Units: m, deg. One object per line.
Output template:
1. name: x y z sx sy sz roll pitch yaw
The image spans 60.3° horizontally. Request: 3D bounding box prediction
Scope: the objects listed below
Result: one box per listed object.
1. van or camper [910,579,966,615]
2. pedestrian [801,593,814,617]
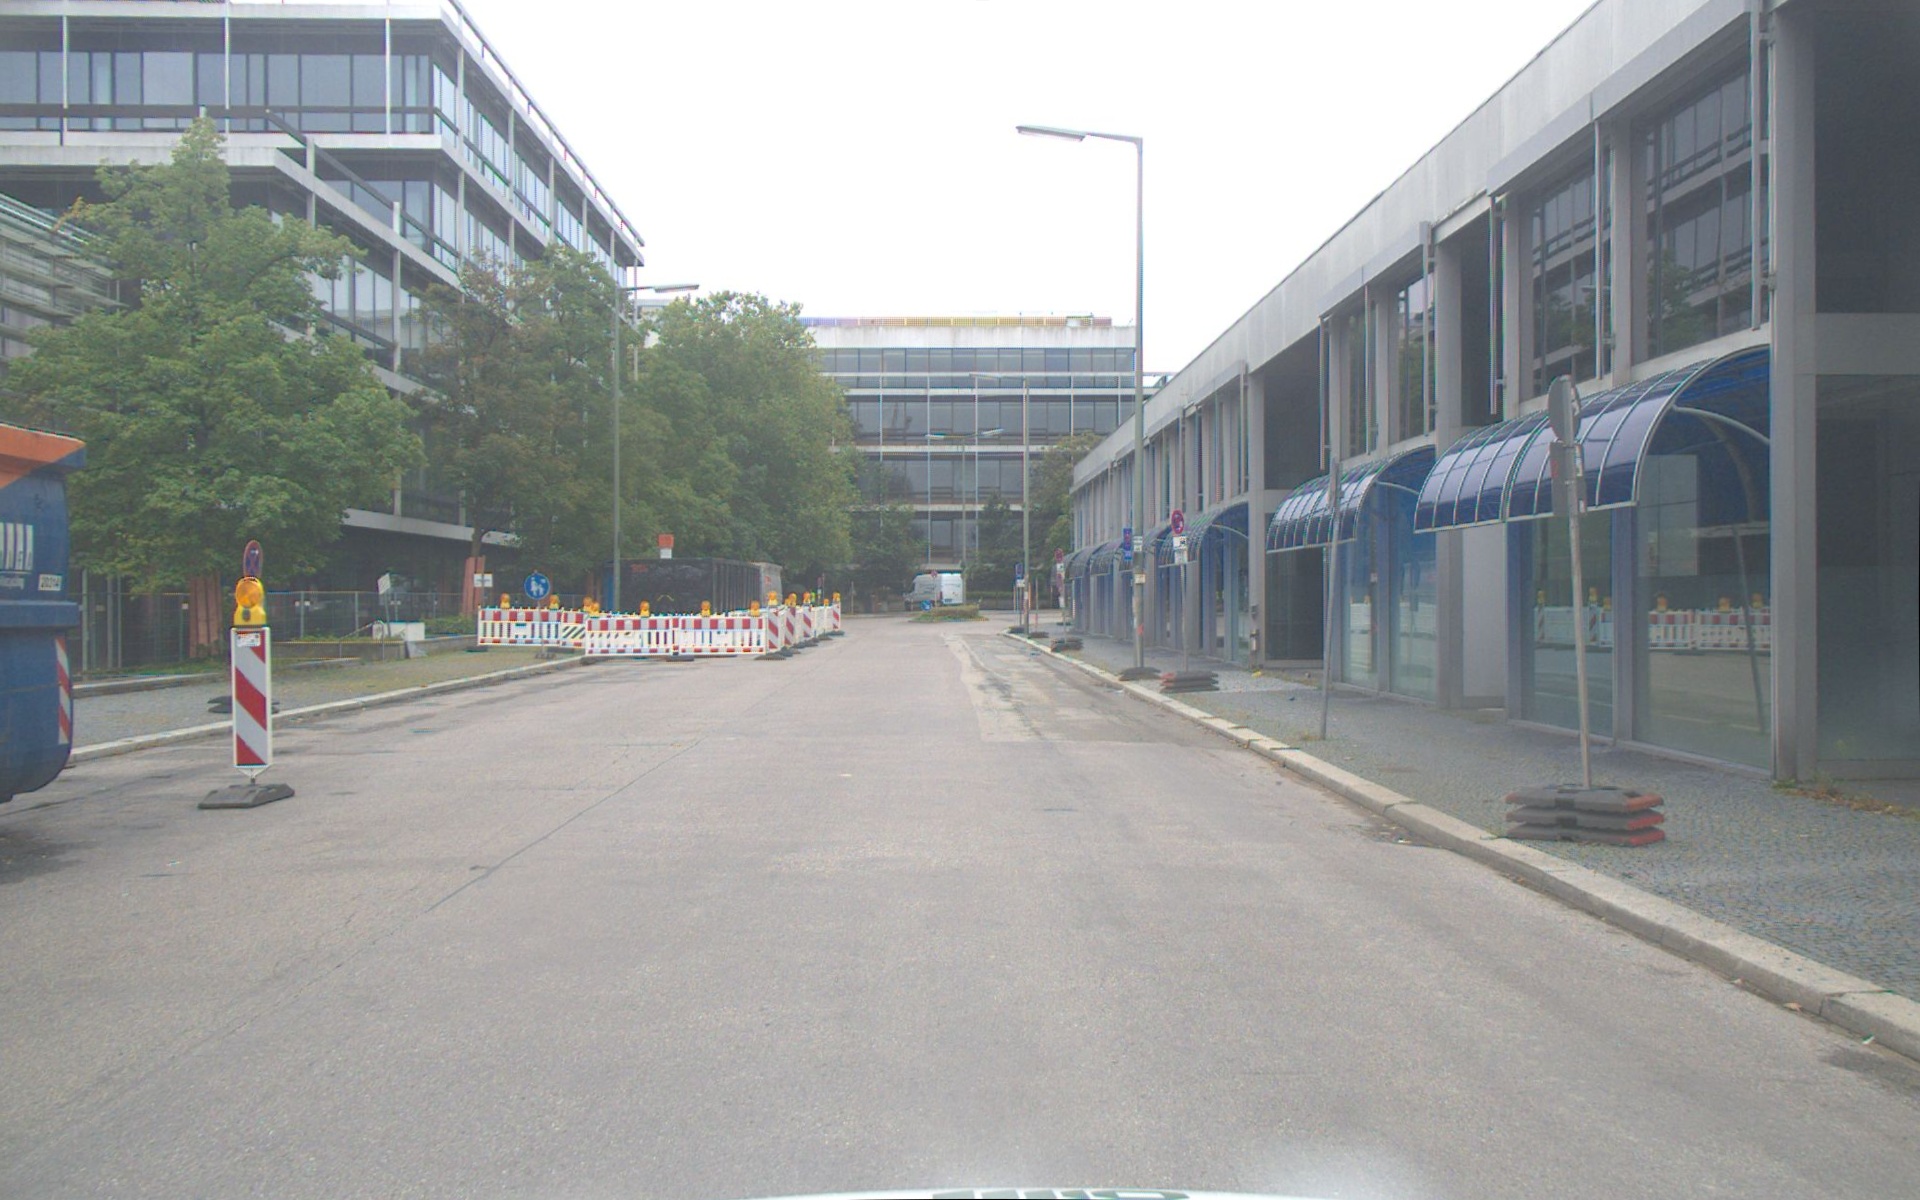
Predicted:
1. van or camper: -1.591 -0.239 118.483 2.060 2.535 5.024 0 0 -26
2. pedestrian: -10.783 0.354 116.870 0.730 1.706 0.678 0 0 -21
